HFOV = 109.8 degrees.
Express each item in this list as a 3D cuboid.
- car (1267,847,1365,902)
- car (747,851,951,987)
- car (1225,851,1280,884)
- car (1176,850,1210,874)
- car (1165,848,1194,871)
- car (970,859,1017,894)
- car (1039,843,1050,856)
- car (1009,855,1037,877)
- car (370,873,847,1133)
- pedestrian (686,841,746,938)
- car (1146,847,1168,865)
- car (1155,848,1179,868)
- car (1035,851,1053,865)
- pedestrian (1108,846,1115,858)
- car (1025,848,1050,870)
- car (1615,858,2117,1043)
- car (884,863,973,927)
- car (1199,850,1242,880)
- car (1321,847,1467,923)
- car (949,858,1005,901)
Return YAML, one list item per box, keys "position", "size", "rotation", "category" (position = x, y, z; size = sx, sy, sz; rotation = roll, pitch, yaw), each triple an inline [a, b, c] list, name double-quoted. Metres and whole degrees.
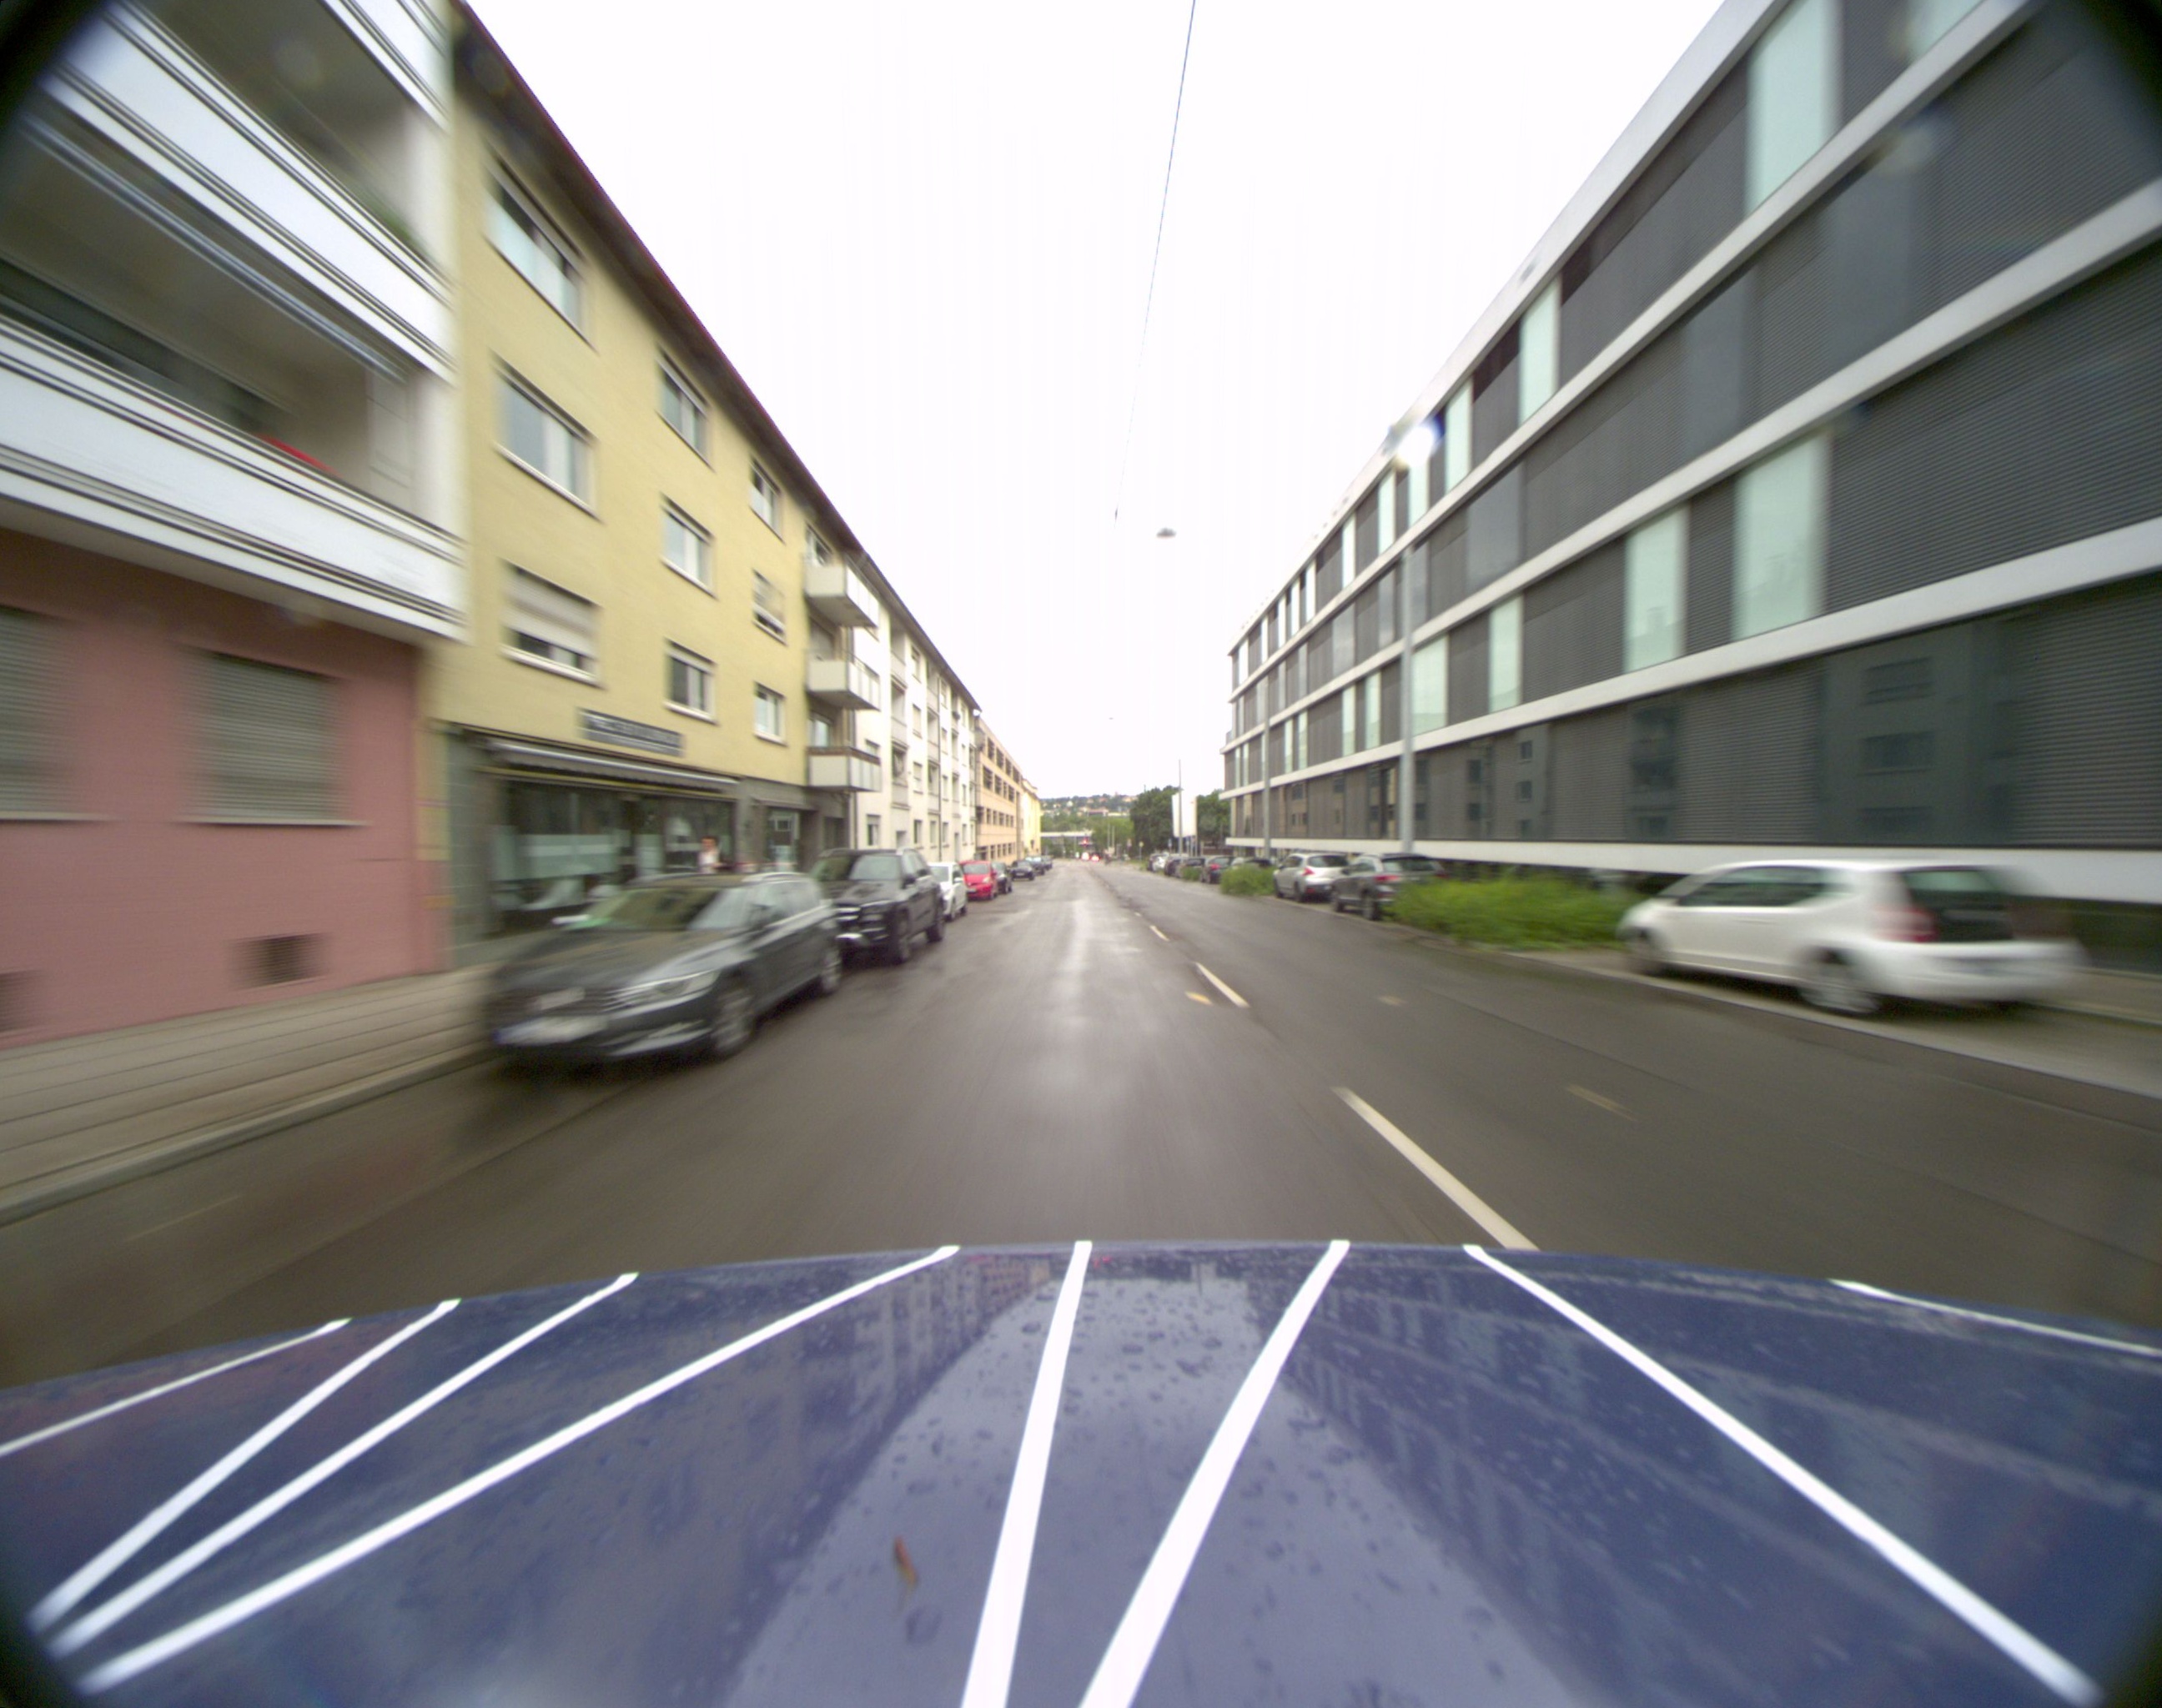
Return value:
- position: [7.606, 0.604, 25.074]
  size: [1.835, 1.580, 4.362]
  rotation: [-2, 1, 0]
  category: "car"
- position: [-3.556, 0.881, 12.658]
  size: [1.968, 1.764, 4.511]
  rotation: [-2, 1, 0]
  category: "car"
- position: [7.841, 0.561, 35.048]
  size: [1.565, 1.385, 4.040]
  rotation: [-1, 1, 0]
  category: "car"
- position: [7.321, 0.474, 49.864]
  size: [1.642, 1.463, 4.040]
  rotation: [-1, 1, 0]
  category: "car"
- position: [7.210, 0.371, 55.879]
  size: [1.642, 1.576, 4.040]
  rotation: [-1, 1, 0]
  category: "car"
- position: [-3.845, 0.961, 34.078]
  size: [1.630, 1.403, 3.777]
  rotation: [-1, 1, 0]
  category: "car"
- position: [-6.939, -0.855, 145.372]
  size: [1.891, 2.447, 4.512]
  rotation: [-1, 1, 0]
  category: "car"
- position: [-4.027, 0.799, 53.346]
  size: [1.630, 1.403, 3.777]
  rotation: [-1, 1, 0]
  category: "car"
- position: [-3.738, 1.013, 7.172]
  size: [1.797, 1.511, 4.511]
  rotation: [-1, 1, -2]
  category: "car"
- position: [-6.899, 0.649, 14.391]
  size: [0.715, 1.763, 0.748]
  rotation: [2, 1, 0]
  category: "pedestrian"
- position: [7.278, 0.168, 72.875]
  size: [1.642, 1.576, 4.040]
  rotation: [-1, 1, 0]
  category: "car"
- position: [7.387, 0.311, 65.650]
  size: [1.642, 1.576, 4.040]
  rotation: [-1, 1, 0]
  category: "car"
- position: [-4.114, 0.466, 84.642]
  size: [1.799, 1.501, 3.999]
  rotation: [-1, 1, 0]
  category: "car"
- position: [4.447, -0.302, 110.796]
  size: [0.651, 1.652, 0.648]
  rotation: [-1, 1, -39]
  category: "pedestrian"
- position: [-3.863, 0.406, 68.120]
  size: [1.911, 1.865, 4.749]
  rotation: [-1, 1, 0]
  category: "car"
- position: [7.729, 0.811, 8.064]
  size: [1.641, 1.458, 3.583]
  rotation: [0, 1, 1]
  category: "car"
- position: [-3.916, 1.001, 20.030]
  size: [1.630, 1.448, 3.483]
  rotation: [-1, 1, 0]
  category: "car"
- position: [7.468, 0.555, 41.039]
  size: [1.565, 1.463, 4.040]
  rotation: [-1, 1, 0]
  category: "car"
- position: [7.543, 0.664, 18.800]
  size: [1.887, 1.580, 4.363]
  rotation: [-2, 1, 2]
  category: "car"
- position: [-3.902, 0.926, 28.941]
  size: [1.630, 1.448, 3.483]
  rotation: [-1, 1, 0]
  category: "car"
